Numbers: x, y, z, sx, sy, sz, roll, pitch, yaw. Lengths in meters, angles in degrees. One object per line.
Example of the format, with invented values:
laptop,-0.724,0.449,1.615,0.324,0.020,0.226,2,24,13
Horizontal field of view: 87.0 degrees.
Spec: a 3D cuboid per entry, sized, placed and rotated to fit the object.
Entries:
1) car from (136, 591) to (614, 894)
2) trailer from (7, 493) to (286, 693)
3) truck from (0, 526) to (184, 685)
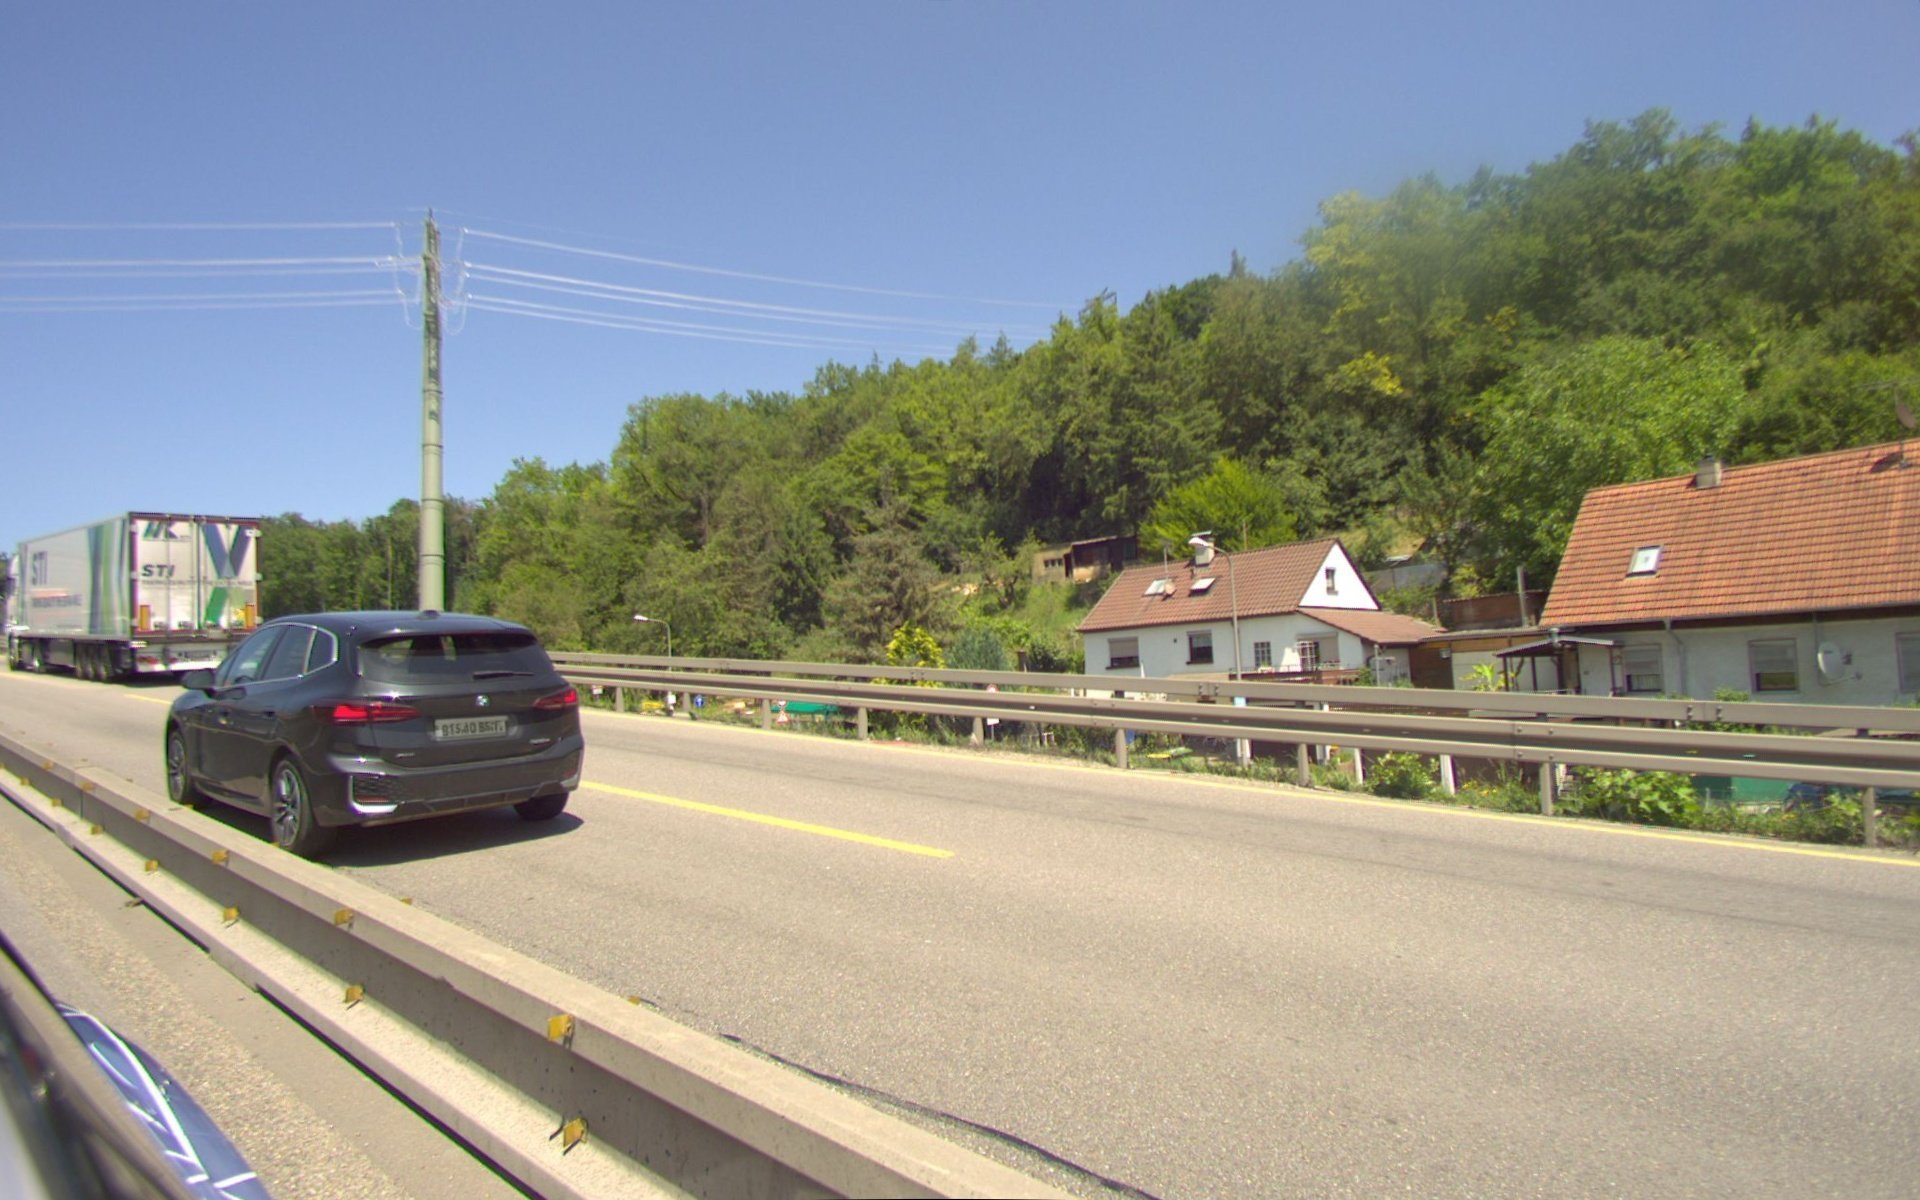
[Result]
car,-4.530,0.797,7.569,4.157,1.598,1.801,-1,2,41
trailer,-23.045,-0.101,28.112,14.044,4.411,3.220,-1,0,39
truck,-27.662,0.168,31.931,8.294,4.395,3.270,-1,0,40
